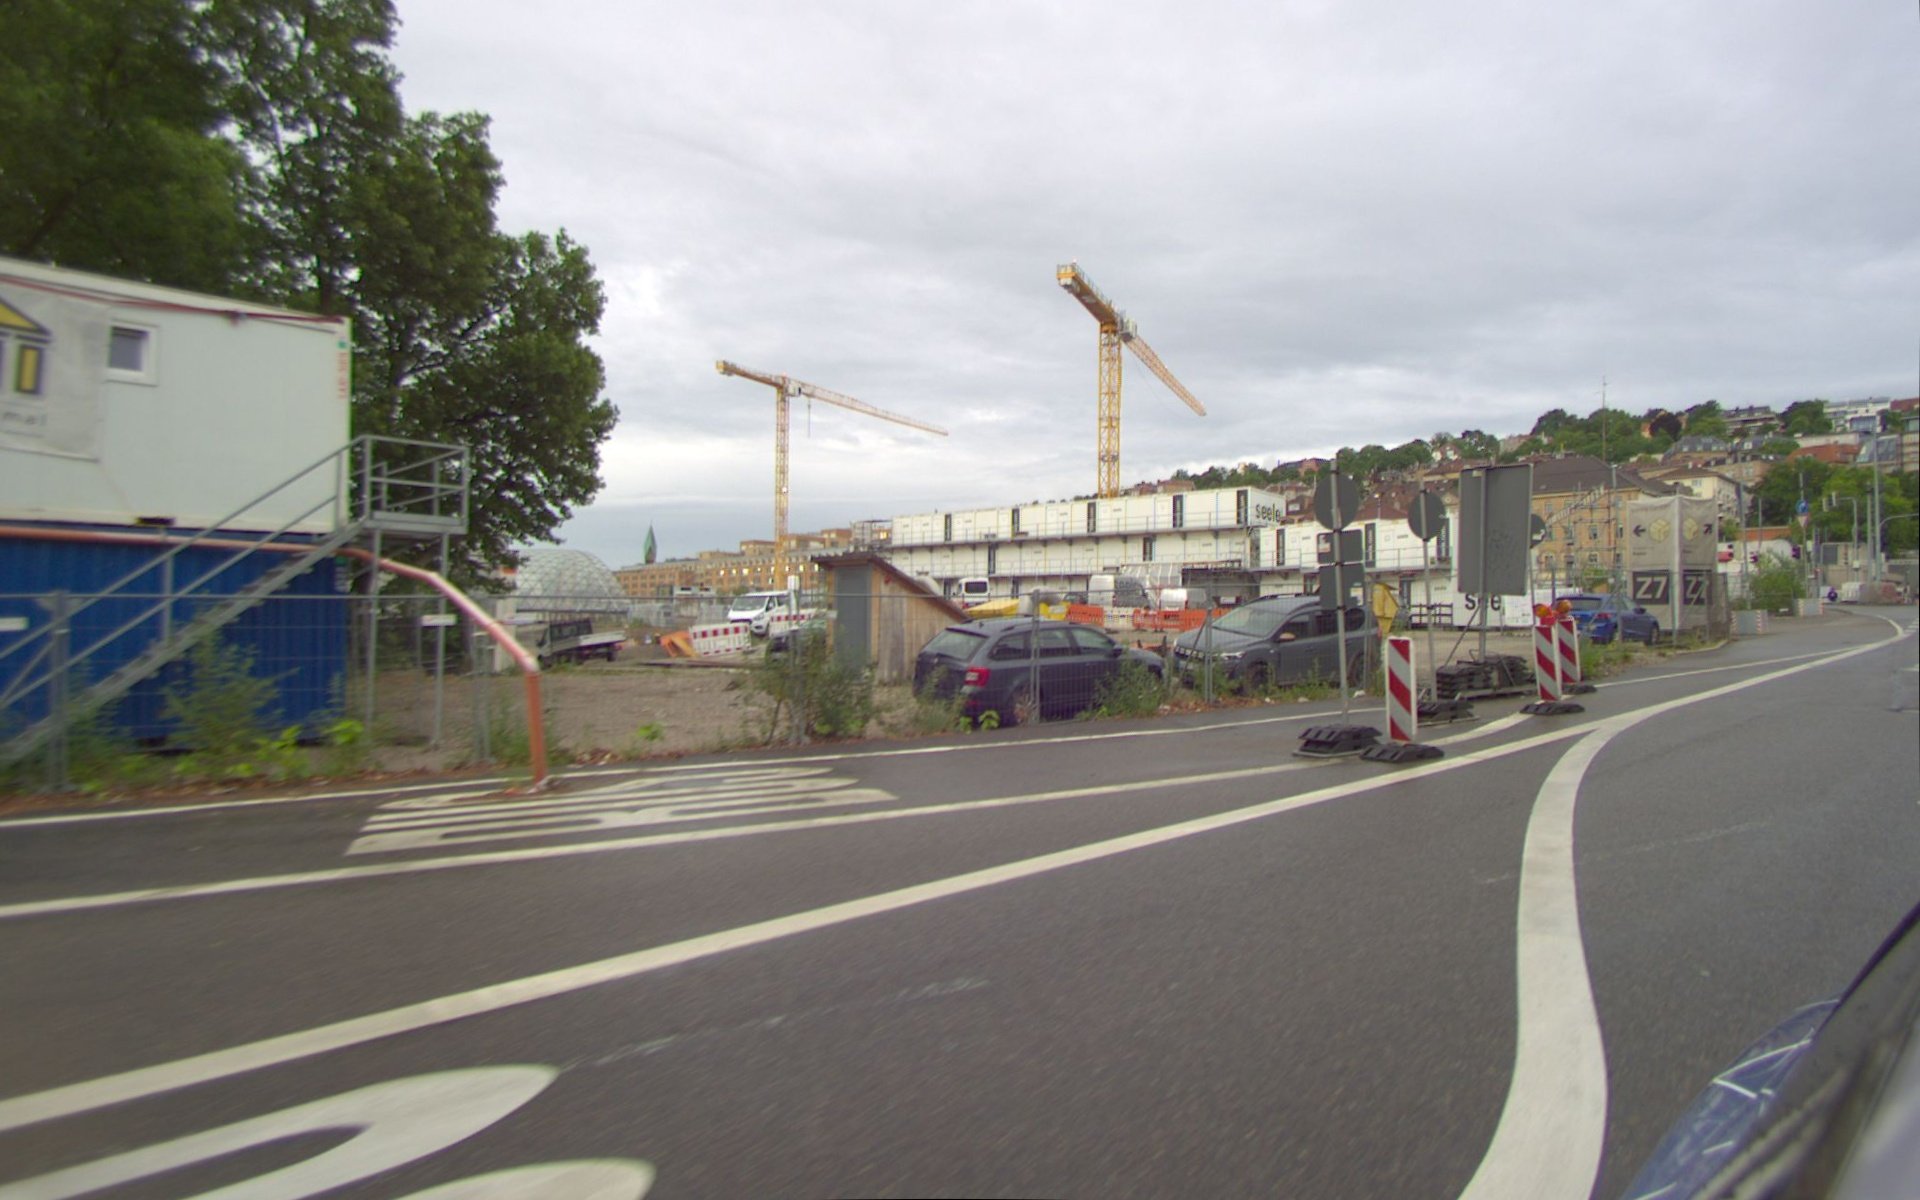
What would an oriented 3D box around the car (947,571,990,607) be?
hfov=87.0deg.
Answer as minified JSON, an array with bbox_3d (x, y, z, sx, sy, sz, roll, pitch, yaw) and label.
[{"bbox_3d":[0.560,-0.800,70.800,2.106,2.412,4.412,0,2,-12],"label":"car"}]

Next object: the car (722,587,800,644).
[{"bbox_3d":[-9.125,0.635,46.940,1.923,2.306,5.253,2,2,8],"label":"car"}]

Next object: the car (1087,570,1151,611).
[{"bbox_3d":[9.993,-0.636,63.186,1.987,2.472,4.921,1,2,35],"label":"car"}]

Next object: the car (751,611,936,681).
[{"bbox_3d":[-2.518,0.962,22.555,1.710,1.323,3.939,-2,0,42],"label":"car"}]

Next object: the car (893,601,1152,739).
[{"bbox_3d":[1.057,0.916,15.301,1.850,1.502,3.941,2,5,42],"label":"car"}]

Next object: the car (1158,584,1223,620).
[{"bbox_3d":[13.561,0.071,59.448,1.988,1.910,4.921,3,3,35],"label":"car"}]

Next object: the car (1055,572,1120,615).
[{"bbox_3d":[8.226,-0.473,64.931,1.988,2.591,4.921,3,3,35],"label":"car"}]

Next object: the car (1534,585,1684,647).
[{"bbox_3d":[16.794,0.382,26.130,4.331,1.460,1.837,-1,-1,-37],"label":"car"}]

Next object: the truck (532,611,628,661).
[{"bbox_3d":[-17.720,1.706,47.022,2.369,2.079,5.553,-1,-3,-41],"label":"truck"}]

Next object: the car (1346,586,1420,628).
[{"bbox_3d":[20.886,0.302,49.828,2.011,1.925,4.585,2,1,41],"label":"car"}]

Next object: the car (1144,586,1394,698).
[{"bbox_3d":[5.646,0.655,18.344,4.327,1.669,1.930,0,5,-33],"label":"car"}]
